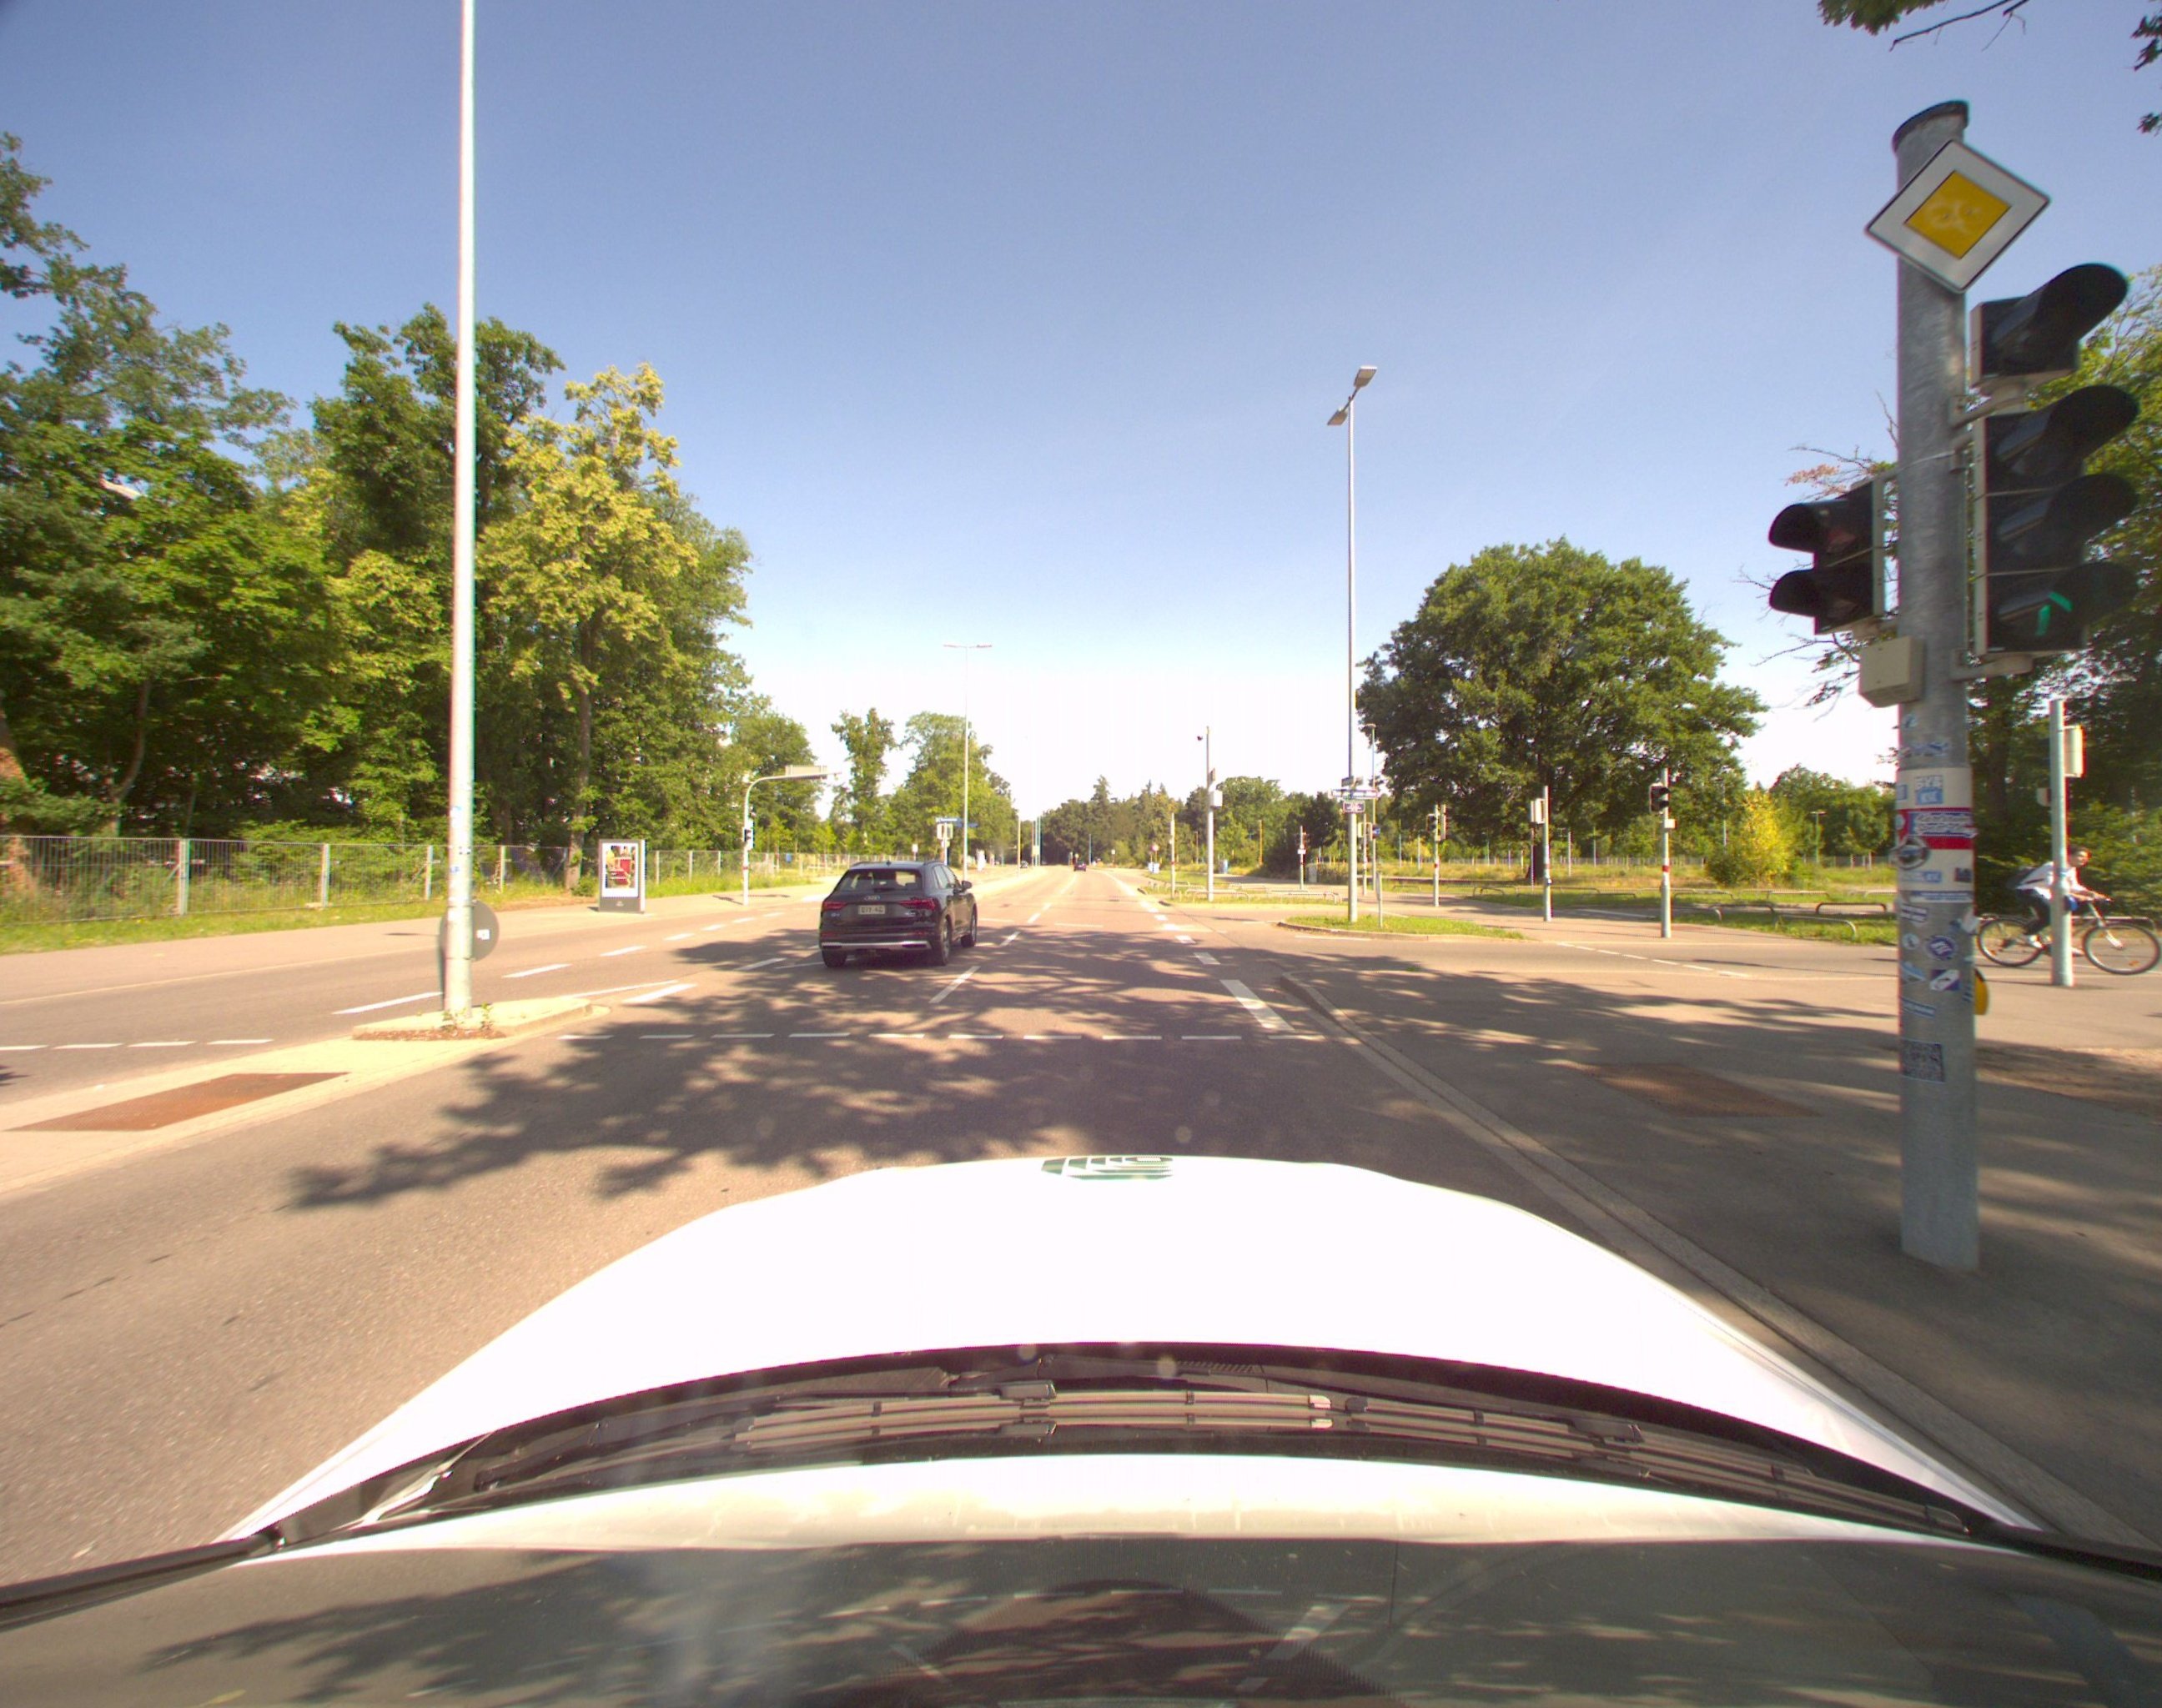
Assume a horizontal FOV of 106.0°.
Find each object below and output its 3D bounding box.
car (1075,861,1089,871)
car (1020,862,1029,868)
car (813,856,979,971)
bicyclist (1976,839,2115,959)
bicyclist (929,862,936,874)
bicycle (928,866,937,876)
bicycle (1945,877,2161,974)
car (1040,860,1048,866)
[{"bbox_3d":[0.123,1.825,120.891,1.936,1.420,4.287,0,0,-3],"label":"car"},{"bbox_3d":[-13.206,2.504,189.032,1.809,1.388,4.150,-2,-1,-8],"label":"car"},{"bbox_3d":[-2.796,0.830,13.255,1.682,1.544,4.148,-1,0,1],"label":"car"},{"bbox_3d":[13.826,0.611,11.706,0.724,1.639,1.054,0,-1,-9],"label":"bicyclist"},{"bbox_3d":[-17.476,1.641,95.990,0.658,1.467,1.057,1,-1,-1],"label":"bicyclist"},{"bbox_3d":[-17.499,1.999,95.938,0.658,1.136,1.877,1,-1,-1],"label":"bicycle"},{"bbox_3d":[13.840,0.953,11.569,0.724,1.199,2.094,0,-1,-9],"label":"bicycle"},{"bbox_3d":[-11.773,2.904,260.133,1.994,1.750,3.985,0,-1,-10],"label":"car"}]
